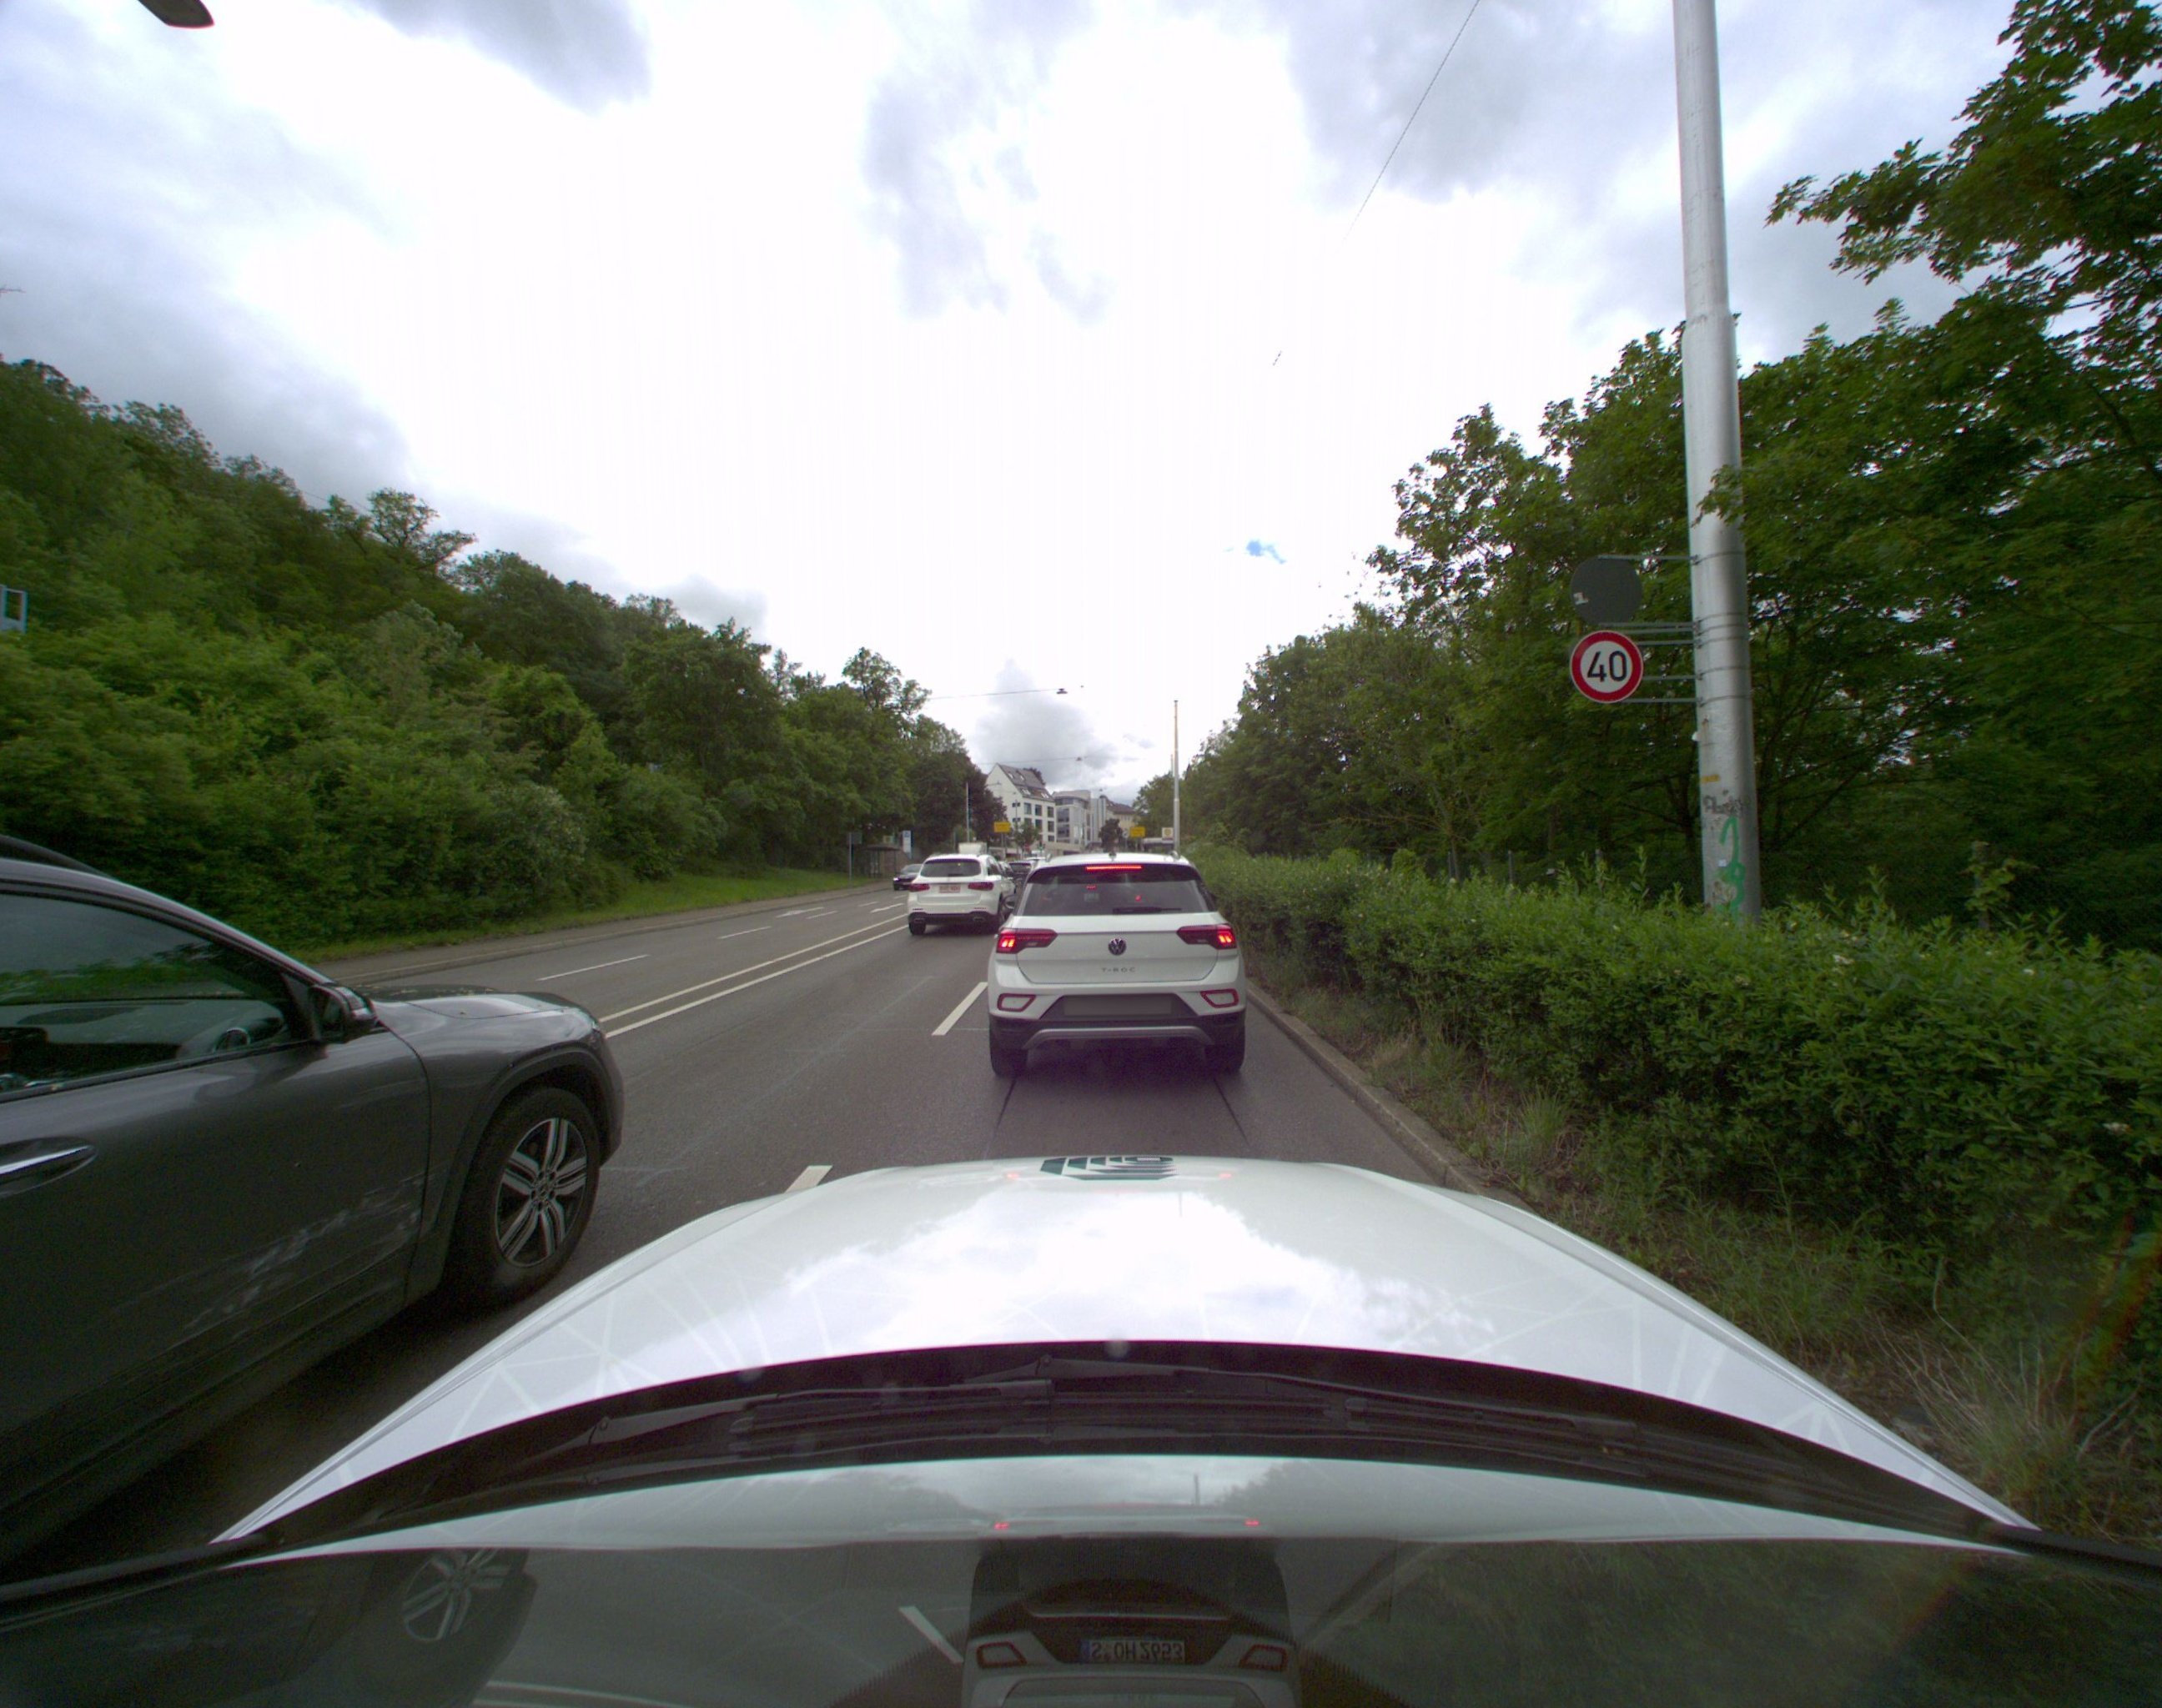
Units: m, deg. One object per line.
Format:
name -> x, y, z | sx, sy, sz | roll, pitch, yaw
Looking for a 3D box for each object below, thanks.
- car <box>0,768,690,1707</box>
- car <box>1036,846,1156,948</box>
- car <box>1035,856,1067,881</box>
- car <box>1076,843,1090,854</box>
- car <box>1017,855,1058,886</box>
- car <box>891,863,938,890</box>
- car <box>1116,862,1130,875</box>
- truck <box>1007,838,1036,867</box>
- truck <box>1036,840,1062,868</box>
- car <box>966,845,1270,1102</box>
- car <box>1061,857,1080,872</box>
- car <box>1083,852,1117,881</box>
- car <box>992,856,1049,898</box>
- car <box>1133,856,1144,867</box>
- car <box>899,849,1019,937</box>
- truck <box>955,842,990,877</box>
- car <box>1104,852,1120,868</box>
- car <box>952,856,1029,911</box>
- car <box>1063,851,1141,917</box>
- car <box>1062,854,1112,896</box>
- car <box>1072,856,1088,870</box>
car -> -2.758, 0.697, 1.579 | 1.843, 1.651, 4.357 | -1, 0, 0
car -> 0.267, 0.672, 14.726 | 1.823, 1.526, 4.001 | -2, 0, 1
car -> -1.986, 0.967, 54.791 | 1.823, 1.526, 4.001 | -2, 0, 1
car -> 0.300, -0.799, 116.936 | 1.823, 1.526, 4.001 | -2, 0, 1
car -> -2.246, 0.849, 43.172 | 1.823, 1.526, 4.001 | -2, 0, 1
car -> -9.529, 1.267, 46.836 | 1.673, 1.395, 4.361 | -3, 0, 1
car -> 6.614, 2.277, 128.143 | 1.986, 2.014, 4.002 | -3, -2, 2
truck -> -5.855, -0.166, 81.117 | 2.354, 2.706, 4.478 | -3, 0, 1
truck -> -3.305, -0.023, 85.485 | 2.354, 2.782, 4.478 | -3, 0, 1
car -> 0.261, 0.739, 6.993 | 1.823, 1.526, 4.001 | -2, 0, 1
car -> -1.051, 1.090, 85.180 | 1.823, 1.526, 4.001 | -2, 0, 1
car -> 1.098, 0.706, 47.235 | 1.823, 1.526, 4.001 | -2, 0, 1
car -> -2.348, 0.865, 32.567 | 1.823, 1.526, 4.001 | -2, 0, 1
car -> 10.860, 1.438, 154.750 | 1.986, 2.014, 4.002 | -3, -2, 2
car -> -2.505, 0.756, 17.655 | 1.911, 1.669, 4.001 | -1, 0, 1
truck -> -10.146, 0.555, 76.537 | 2.286, 3.051, 6.977 | -2, -1, 0
car -> 4.017, 0.785, 105.515 | 1.986, 2.013, 4.001 | -2, 0, 2
car -> -2.711, 0.859, 25.336 | 1.823, 1.497, 4.001 | -2, 0, 1
car -> 0.544, 0.731, 21.688 | 1.823, 1.526, 4.001 | -2, 0, 1
car -> 0.264, 0.808, 32.819 | 1.823, 1.526, 4.001 | -2, 0, 1
car -> -0.115, 1.081, 96.273 | 1.823, 1.526, 4.001 | -2, 0, 1
